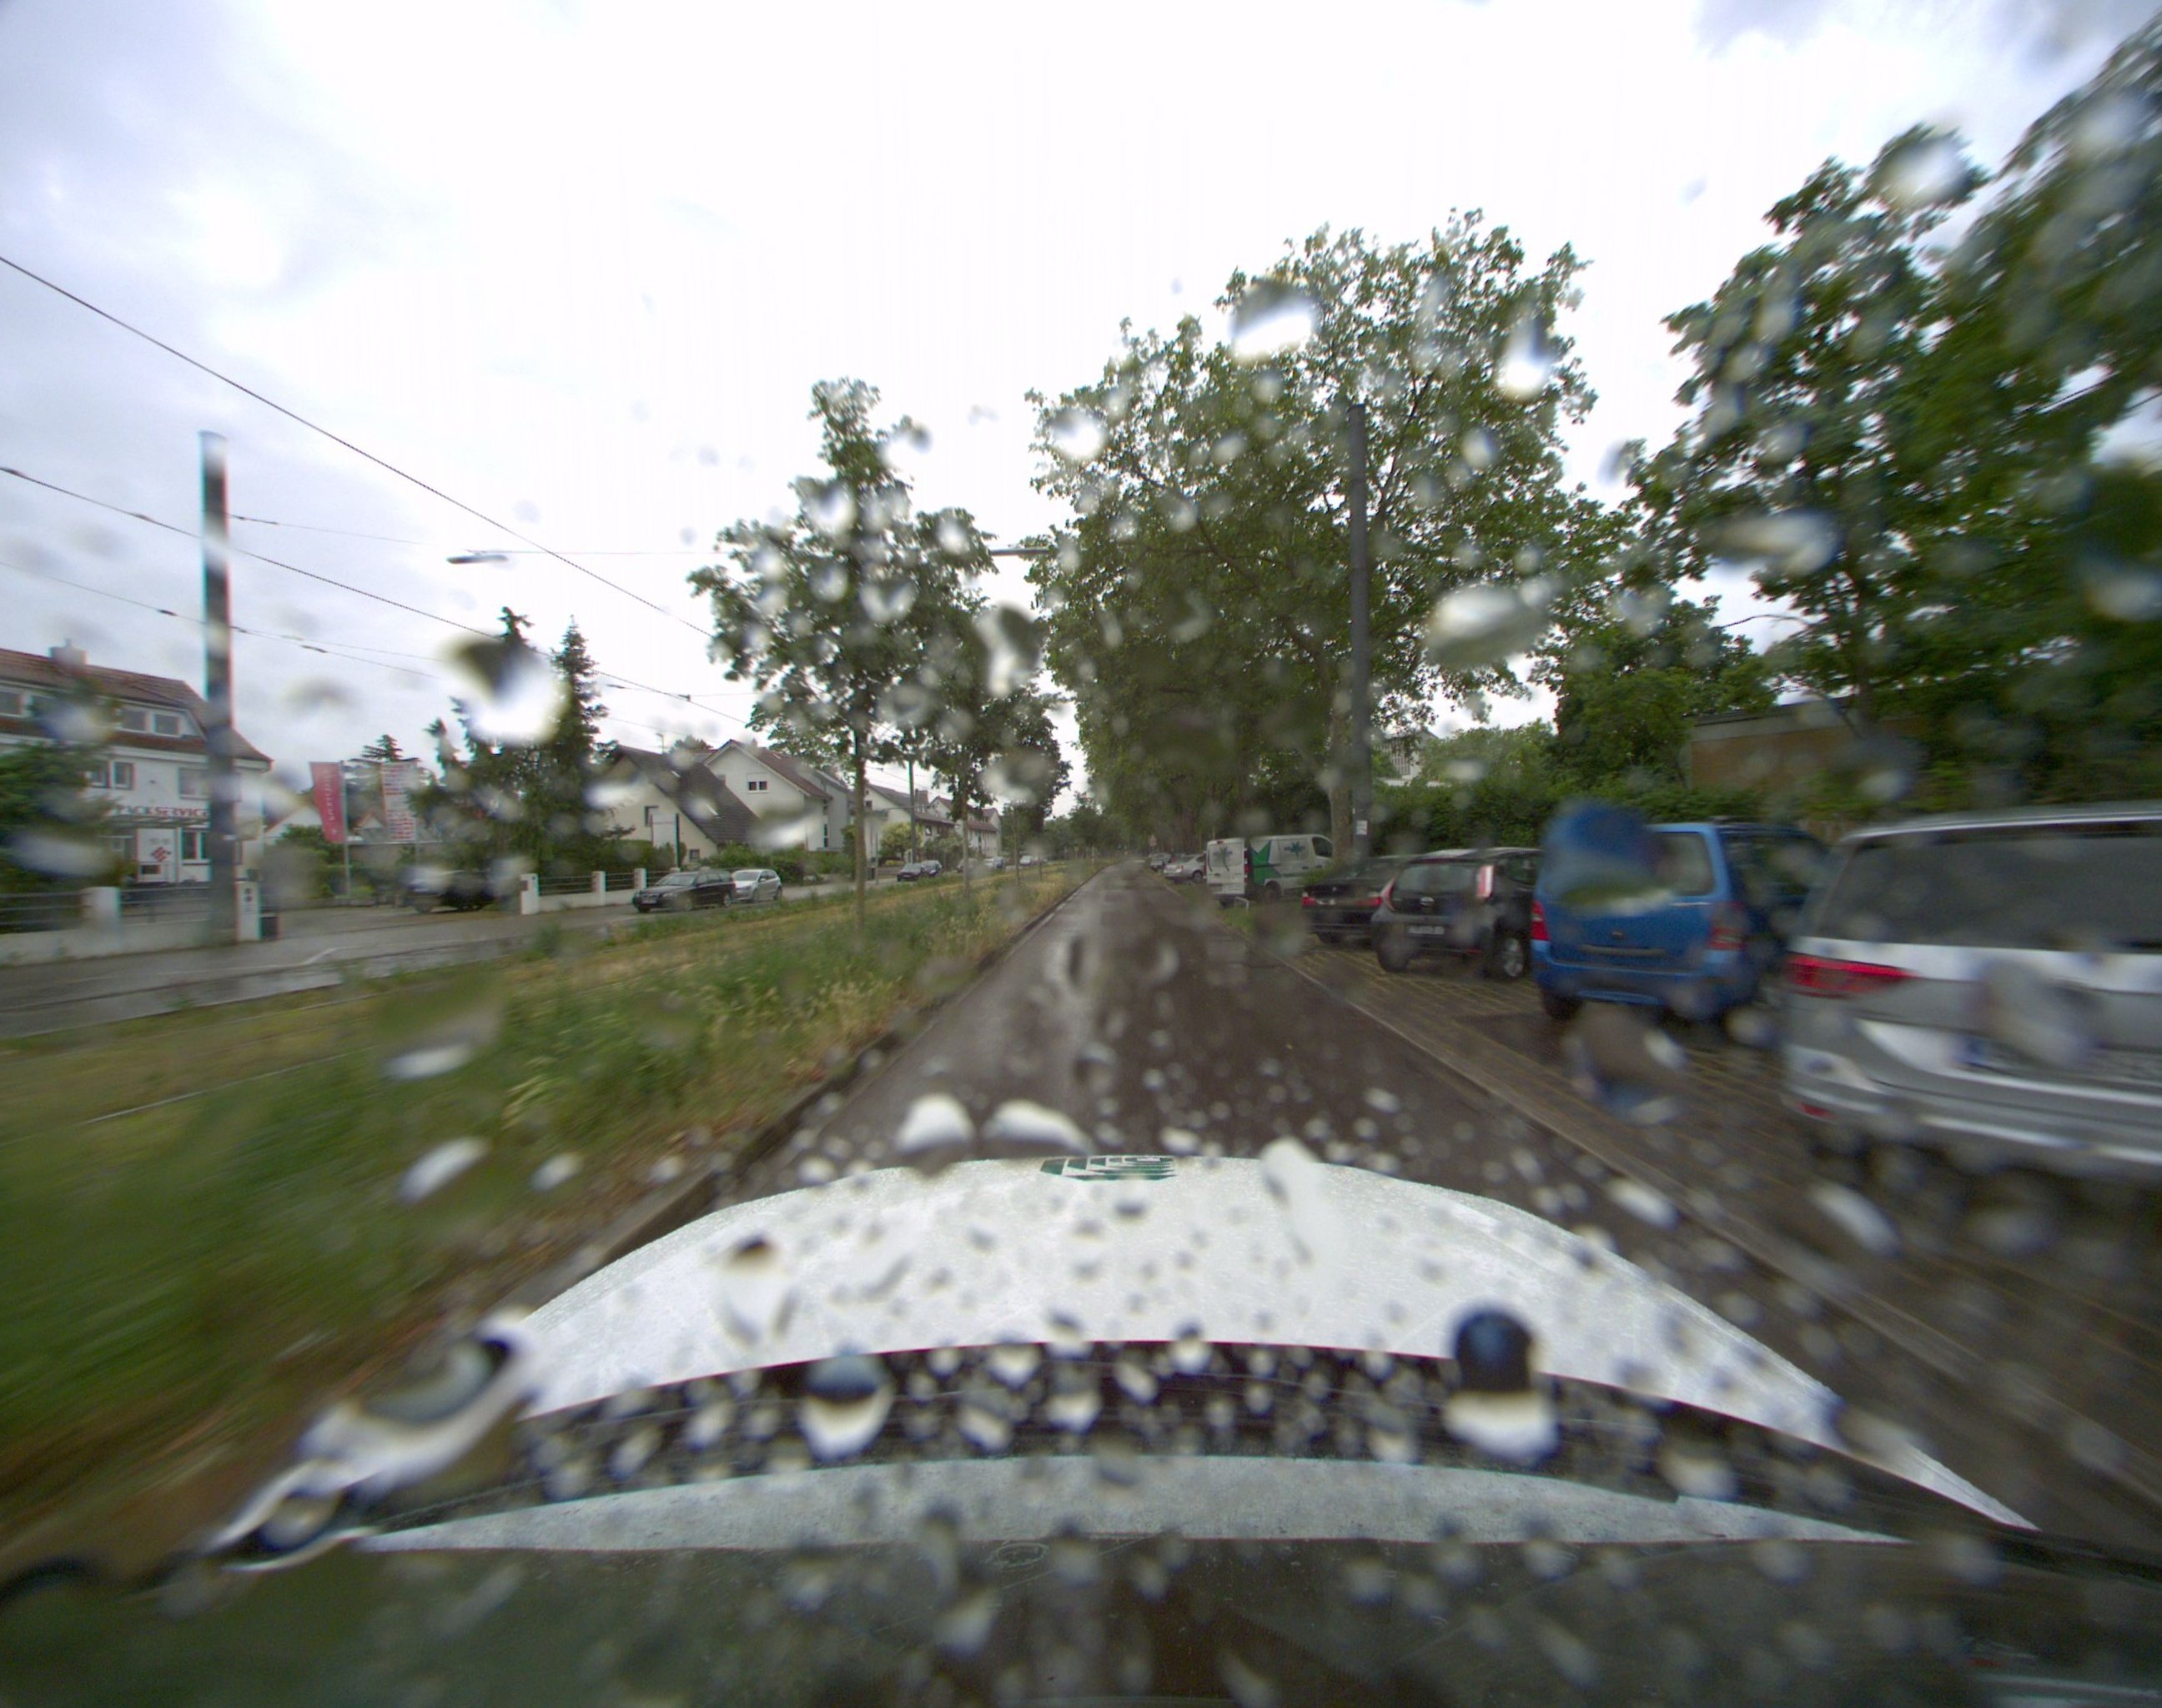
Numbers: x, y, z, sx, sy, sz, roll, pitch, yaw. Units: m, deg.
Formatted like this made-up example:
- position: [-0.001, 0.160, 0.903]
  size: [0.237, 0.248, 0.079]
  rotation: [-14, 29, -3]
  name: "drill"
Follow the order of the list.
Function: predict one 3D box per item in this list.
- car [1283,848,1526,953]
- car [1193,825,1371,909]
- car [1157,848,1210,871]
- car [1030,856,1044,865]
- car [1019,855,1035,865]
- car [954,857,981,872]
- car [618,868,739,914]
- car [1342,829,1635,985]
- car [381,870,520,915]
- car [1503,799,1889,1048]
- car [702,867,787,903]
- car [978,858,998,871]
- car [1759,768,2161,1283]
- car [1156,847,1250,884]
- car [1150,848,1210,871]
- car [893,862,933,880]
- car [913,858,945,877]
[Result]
- position: [5.416, 0.655, 13.398]
  size: [4.326, 1.384, 1.721]
  rotation: [-2, 0, -38]
  name: "car"
- position: [5.825, 0.301, 23.401]
  size: [5.049, 2.013, 1.979]
  rotation: [-4, 1, -33]
  name: "car"
- position: [7.821, 0.403, 61.838]
  size: [3.726, 1.566, 1.603]
  rotation: [-3, 0, -30]
  name: "car"
- position: [-7.720, 1.049, 142.781]
  size: [1.985, 1.488, 4.210]
  rotation: [0, 1, 4]
  name: "car"
- position: [-8.495, 0.902, 128.991]
  size: [1.985, 1.581, 4.522]
  rotation: [0, 1, 4]
  name: "car"
- position: [-12.061, 1.074, 86.785]
  size: [1.985, 1.516, 4.210]
  rotation: [0, 1, 4]
  name: "car"
- position: [-14.817, 1.325, 30.305]
  size: [1.985, 1.455, 4.536]
  rotation: [0, 1, 4]
  name: "car"
- position: [5.163, 0.559, 10.228]
  size: [3.420, 1.518, 1.830]
  rotation: [-4, 0, -35]
  name: "car"
- position: [-23.216, 1.376, 30.209]
  size: [1.986, 1.455, 3.921]
  rotation: [0, 1, 2]
  name: "car"
- position: [5.467, 0.447, 7.183]
  size: [3.287, 1.671, 1.576]
  rotation: [-4, 0, -32]
  name: "car"
- position: [-14.718, 1.329, 35.851]
  size: [1.986, 1.411, 3.973]
  rotation: [0, 1, 2]
  name: "car"
- position: [-11.243, 1.221, 98.468]
  size: [1.788, 1.488, 3.601]
  rotation: [0, 0, 4]
  name: "car"
- position: [5.006, 0.468, 3.874]
  size: [4.064, 1.641, 1.637]
  rotation: [-3, 0, -34]
  name: "car"
- position: [6.360, 0.579, 42.357]
  size: [4.575, 1.544, 1.869]
  rotation: [-5, 2, -30]
  name: "car"
- position: [8.219, 0.487, 67.355]
  size: [4.795, 1.668, 1.974]
  rotation: [-3, 0, -34]
  name: "car"
- position: [-13.293, 1.320, 64.596]
  size: [1.985, 1.350, 4.245]
  rotation: [0, 1, 4]
  name: "car"
- position: [-12.968, 1.148, 69.573]
  size: [1.866, 1.550, 3.873]
  rotation: [0, 1, 2]
  name: "car"
